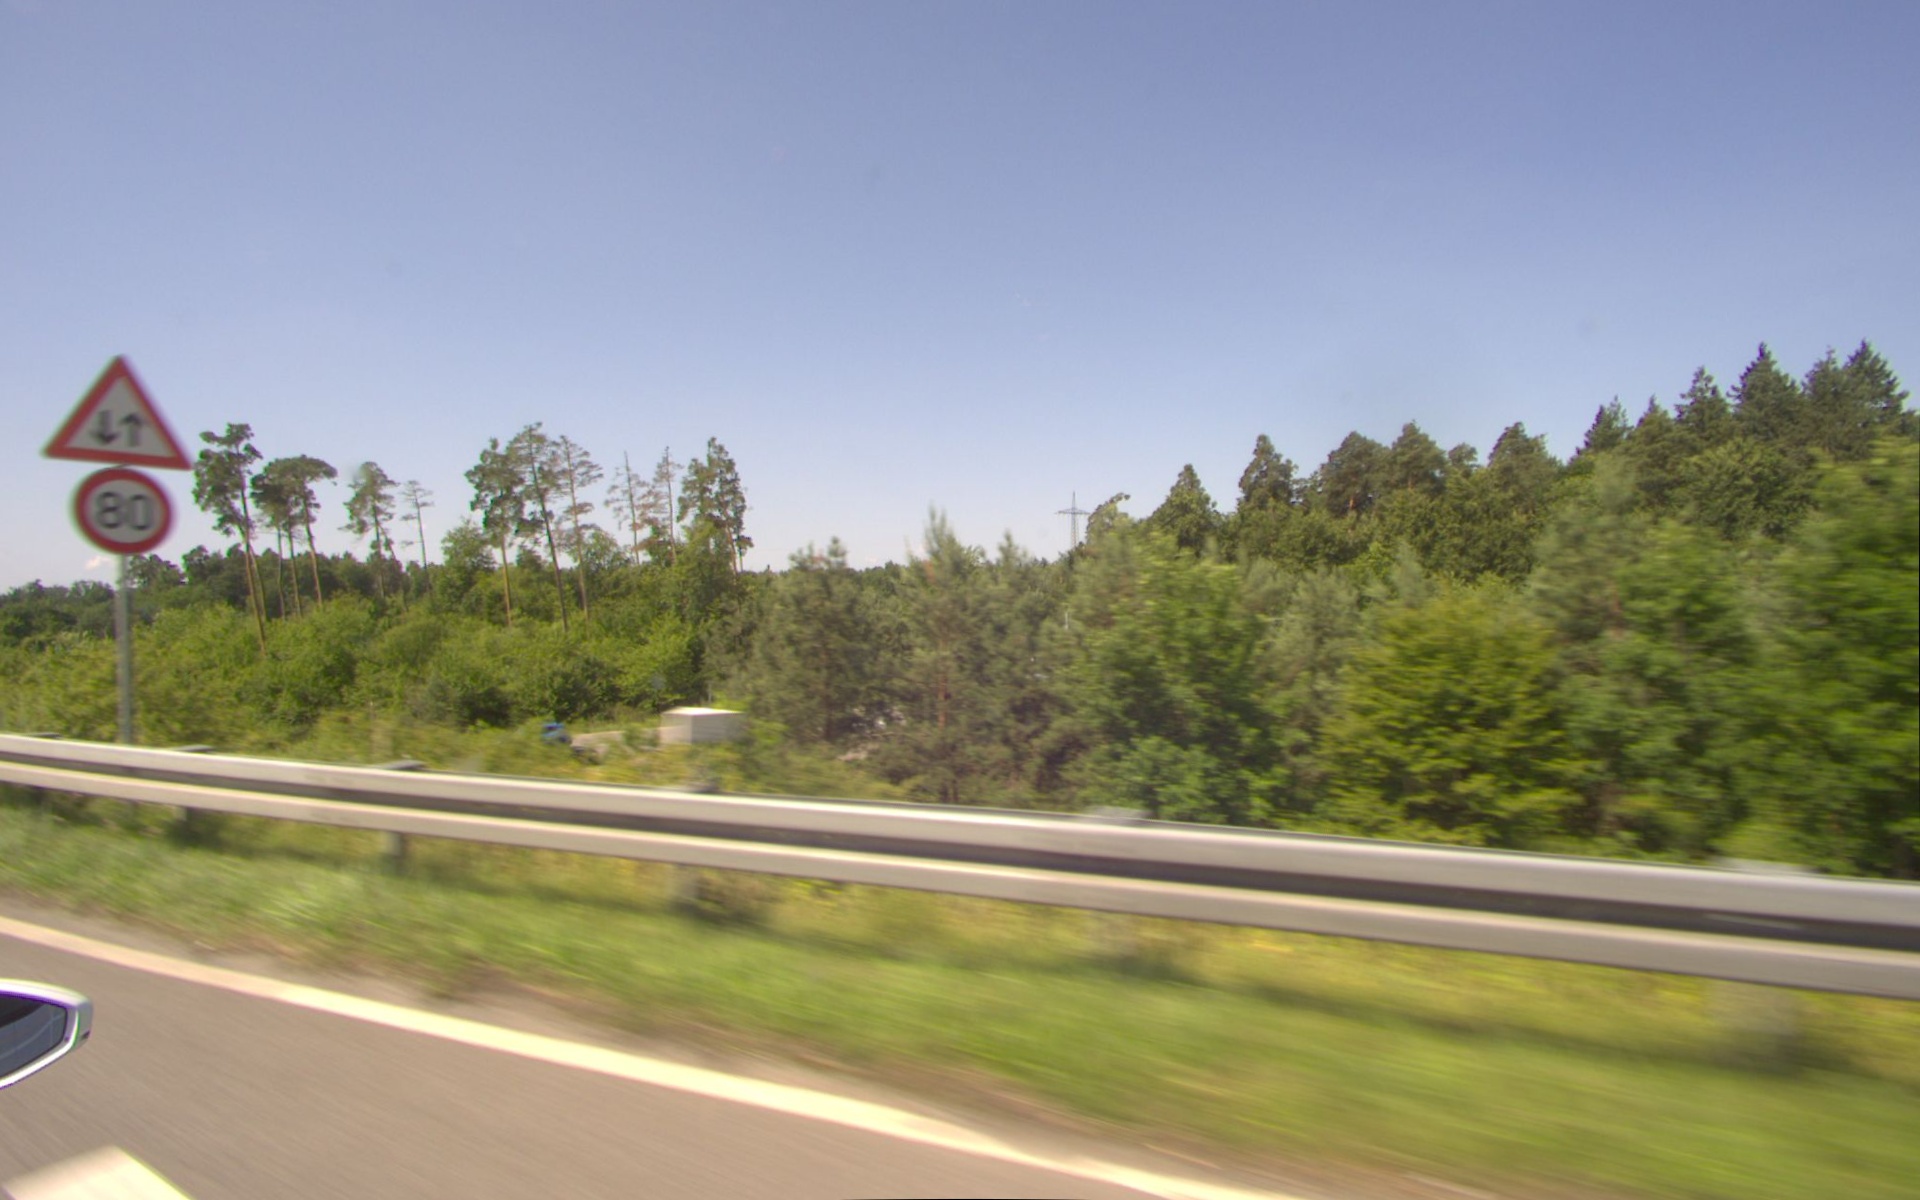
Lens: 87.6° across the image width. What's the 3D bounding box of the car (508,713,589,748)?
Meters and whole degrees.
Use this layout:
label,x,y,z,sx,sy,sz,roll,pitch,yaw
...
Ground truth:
label,x,y,z,sx,sy,sz,roll,pitch,yaw
car,-23.605,7.475,57.462,3.949,1.572,1.987,1,-1,-35
